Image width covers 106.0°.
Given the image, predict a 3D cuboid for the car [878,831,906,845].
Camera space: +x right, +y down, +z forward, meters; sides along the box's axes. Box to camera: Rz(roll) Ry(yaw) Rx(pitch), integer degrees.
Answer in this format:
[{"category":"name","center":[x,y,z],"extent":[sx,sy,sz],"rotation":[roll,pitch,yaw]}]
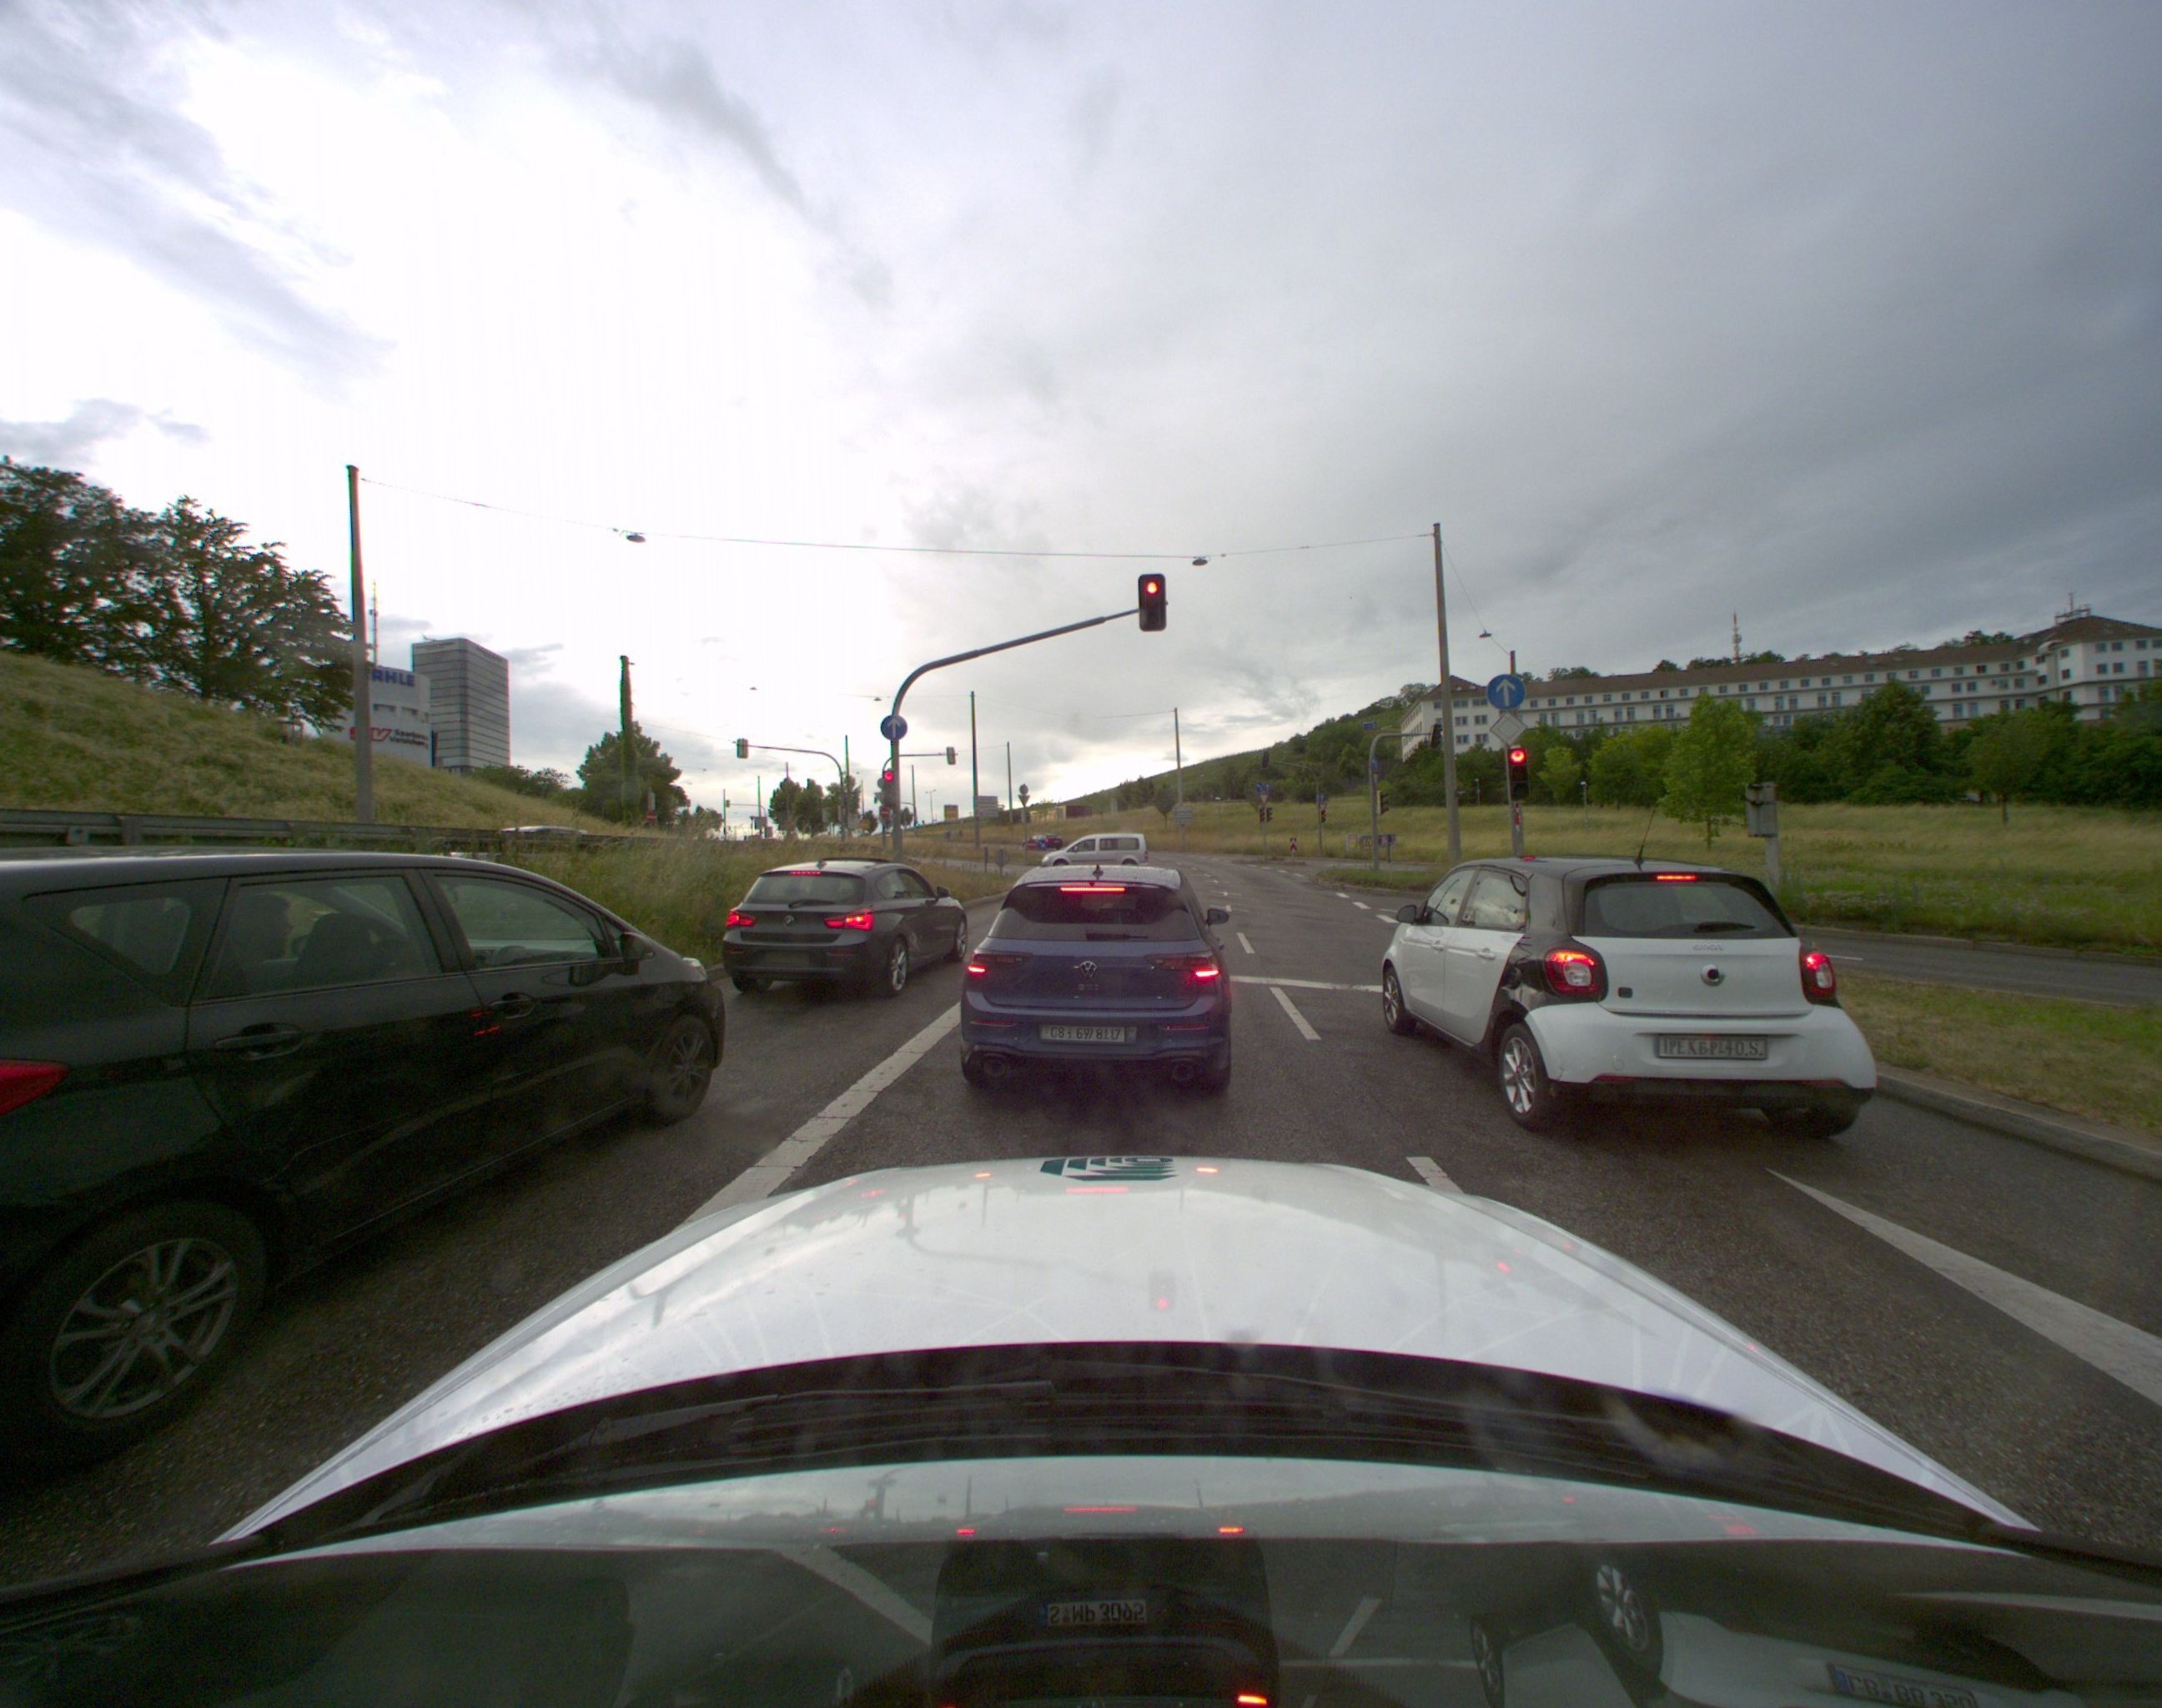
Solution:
[{"category":"car","center":[-23.893,-1.989,102.705],"extent":[2.008,1.637,4.373],"rotation":[0,-1,-35]}]

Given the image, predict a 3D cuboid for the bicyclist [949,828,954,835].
[{"category":"bicyclist","center":[-19.222,-3.388,120.696],"extent":[0.527,1.046,0.574],"rotation":[2,0,-32]}]

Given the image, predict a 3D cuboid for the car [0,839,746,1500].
[{"category":"car","center":[-3.148,0.703,3.464],"extent":[1.634,1.504,3.783],"rotation":[1,0,4]}]

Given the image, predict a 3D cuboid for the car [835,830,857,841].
[{"category":"car","center":[-35.909,-2.871,124.198],"extent":[2.008,1.477,4.455],"rotation":[0,-1,-33]}]

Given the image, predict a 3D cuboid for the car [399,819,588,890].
[{"category":"car","center":[-13.738,0.004,19.342],"extent":[1.729,1.517,3.679],"rotation":[0,0,2]}]

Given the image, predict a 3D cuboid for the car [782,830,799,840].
[{"category":"car","center":[-57.993,-3.751,162.618],"extent":[2.143,1.794,4.694],"rotation":[1,0,-31]}]

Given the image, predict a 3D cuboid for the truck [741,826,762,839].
[{"category":"truck","center":[-80.782,-5.189,199.599],"extent":[3.281,3.074,6.111],"rotation":[2,0,-35]}]

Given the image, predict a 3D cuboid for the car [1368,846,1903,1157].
[{"category":"car","center":[3.315,0.743,5.735],"extent":[1.649,1.503,3.456],"rotation":[-1,-1,6]}]

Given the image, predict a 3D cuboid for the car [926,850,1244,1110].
[{"category":"car","center":[0.243,0.719,6.568],"extent":[1.815,1.460,3.816],"rotation":[-1,0,7]}]

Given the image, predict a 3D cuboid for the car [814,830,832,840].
[{"category":"car","center":[-44.422,-3.264,140.139],"extent":[2.007,1.477,4.375],"rotation":[0,-1,-33]}]

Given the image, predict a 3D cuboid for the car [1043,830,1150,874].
[{"category":"car","center":[0.680,-0.073,36.486],"extent":[4.668,1.850,1.821],"rotation":[0,-1,-1]}]

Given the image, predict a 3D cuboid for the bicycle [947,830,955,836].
[{"category":"bicycle","center":[-19.263,-3.122,120.758],"extent":[0.521,0.775,1.605],"rotation":[1,0,-31]}]

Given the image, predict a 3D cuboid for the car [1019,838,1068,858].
[{"category":"car","center":[-3.298,-0.521,70.554],"extent":[2.008,1.618,4.801],"rotation":[0,0,-34]}]

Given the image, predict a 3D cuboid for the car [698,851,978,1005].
[{"category":"car","center":[-2.633,0.723,9.948],"extent":[1.693,1.459,4.123],"rotation":[-1,0,7]}]
